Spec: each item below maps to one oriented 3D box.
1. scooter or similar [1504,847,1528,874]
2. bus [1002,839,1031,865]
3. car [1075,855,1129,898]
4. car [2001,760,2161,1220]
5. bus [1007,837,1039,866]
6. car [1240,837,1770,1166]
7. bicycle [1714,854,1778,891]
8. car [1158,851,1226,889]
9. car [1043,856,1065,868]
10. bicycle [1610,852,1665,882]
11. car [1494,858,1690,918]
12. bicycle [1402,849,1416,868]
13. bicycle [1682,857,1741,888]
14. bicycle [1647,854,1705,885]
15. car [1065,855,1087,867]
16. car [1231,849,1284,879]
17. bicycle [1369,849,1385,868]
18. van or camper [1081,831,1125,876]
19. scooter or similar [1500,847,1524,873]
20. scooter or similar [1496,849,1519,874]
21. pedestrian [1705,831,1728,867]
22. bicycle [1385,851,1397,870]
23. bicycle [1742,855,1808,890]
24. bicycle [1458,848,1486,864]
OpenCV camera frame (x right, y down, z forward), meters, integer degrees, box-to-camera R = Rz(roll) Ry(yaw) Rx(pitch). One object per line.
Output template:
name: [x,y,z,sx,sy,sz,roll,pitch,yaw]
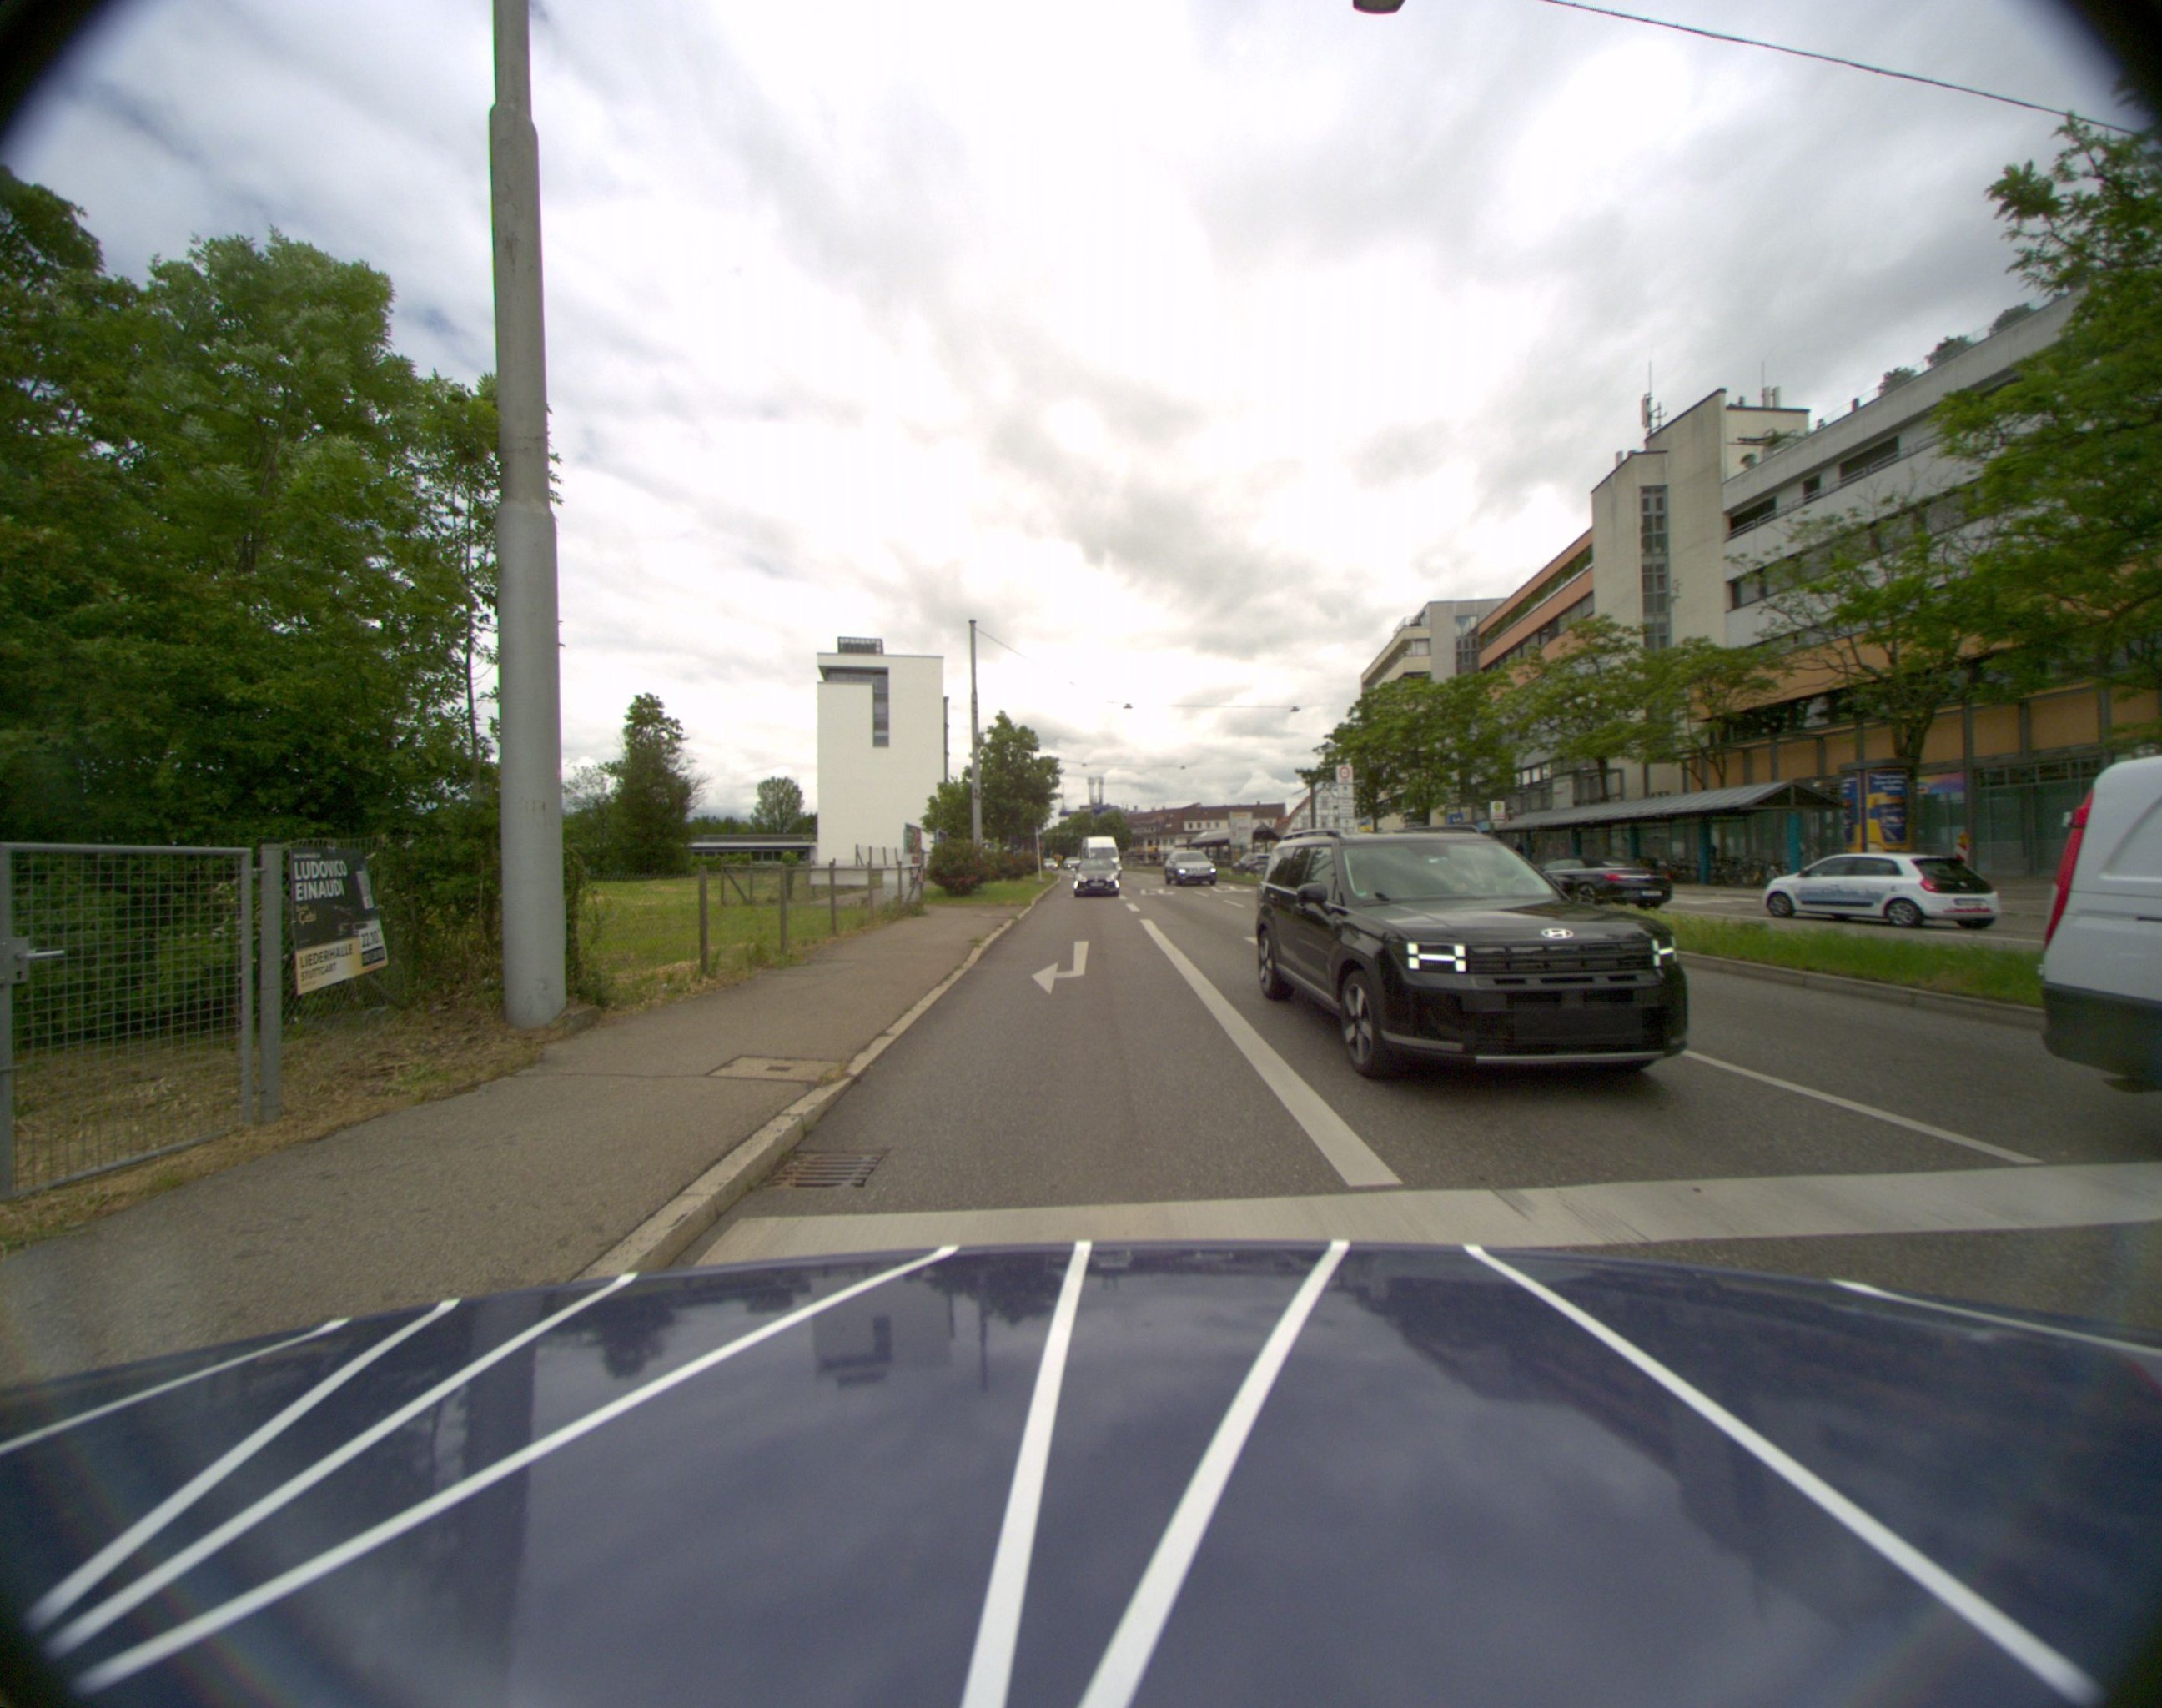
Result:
scooter or similar: [23.116,0.353,40.367,1.205,1.415,0.259,-1,1,-7]
bus: [-8.582,-0.162,99.682,2.722,3.089,8.863,5,-2,-10]
car: [0.723,0.825,28.895,1.863,1.516,4.000,0,-1,-1]
car: [5.595,0.562,1.311,1.878,2.002,5.076,-2,0,1]
bus: [-6.987,-0.223,90.840,2.722,3.144,9.120,3,-1,-10]
car: [2.783,0.803,6.454,1.927,1.741,4.678,-1,0,1]
bicycle: [24.390,0.664,27.877,2.072,1.147,0.711,-4,2,-15]
car: [5.249,0.735,36.504,2.000,1.640,4.390,-3,0,-8]
car: [-3.286,0.913,91.347,2.000,1.368,3.995,-1,1,-11]
bicycle: [23.757,0.553,32.433,2.072,1.147,0.711,-4,1,-15]
car: [13.897,0.839,21.136,1.818,1.390,5.009,1,1,-4]
bicycle: [22.118,0.326,51.191,0.625,1.246,1.687,0,1,33]
bicycle: [24.183,0.689,29.145,2.073,1.147,0.711,-1,1,-15]
bicycle: [23.714,0.601,30.275,2.073,1.147,0.711,-2,1,-15]
car: [-0.636,0.774,90.862,2.000,1.368,3.996,-1,1,-11]
car: [9.667,0.503,41.924,1.998,1.565,4.516,0,0,1]
bicycle: [20.137,0.293,51.669,0.625,1.246,1.687,0,1,33]
van or camper: [1.321,0.011,49.727,2.280,2.690,6.994,0,-1,-3]
scooter or similar: [23.030,0.342,40.628,1.205,1.377,0.222,-1,1,-7]
scooter or similar: [22.956,0.401,40.895,1.131,1.288,0.268,-1,1,-8]
pedestrian: [29.812,-0.233,35.659,0.533,1.634,0.675,0,1,1]
bicycle: [21.587,0.453,52.877,0.431,1.246,1.473,0,0,36]
bicycle: [24.576,0.655,26.915,2.073,1.147,0.711,-2,1,-15]
bicycle: [32.449,0.145,63.004,1.970,1.311,0.706,-1,1,16]
